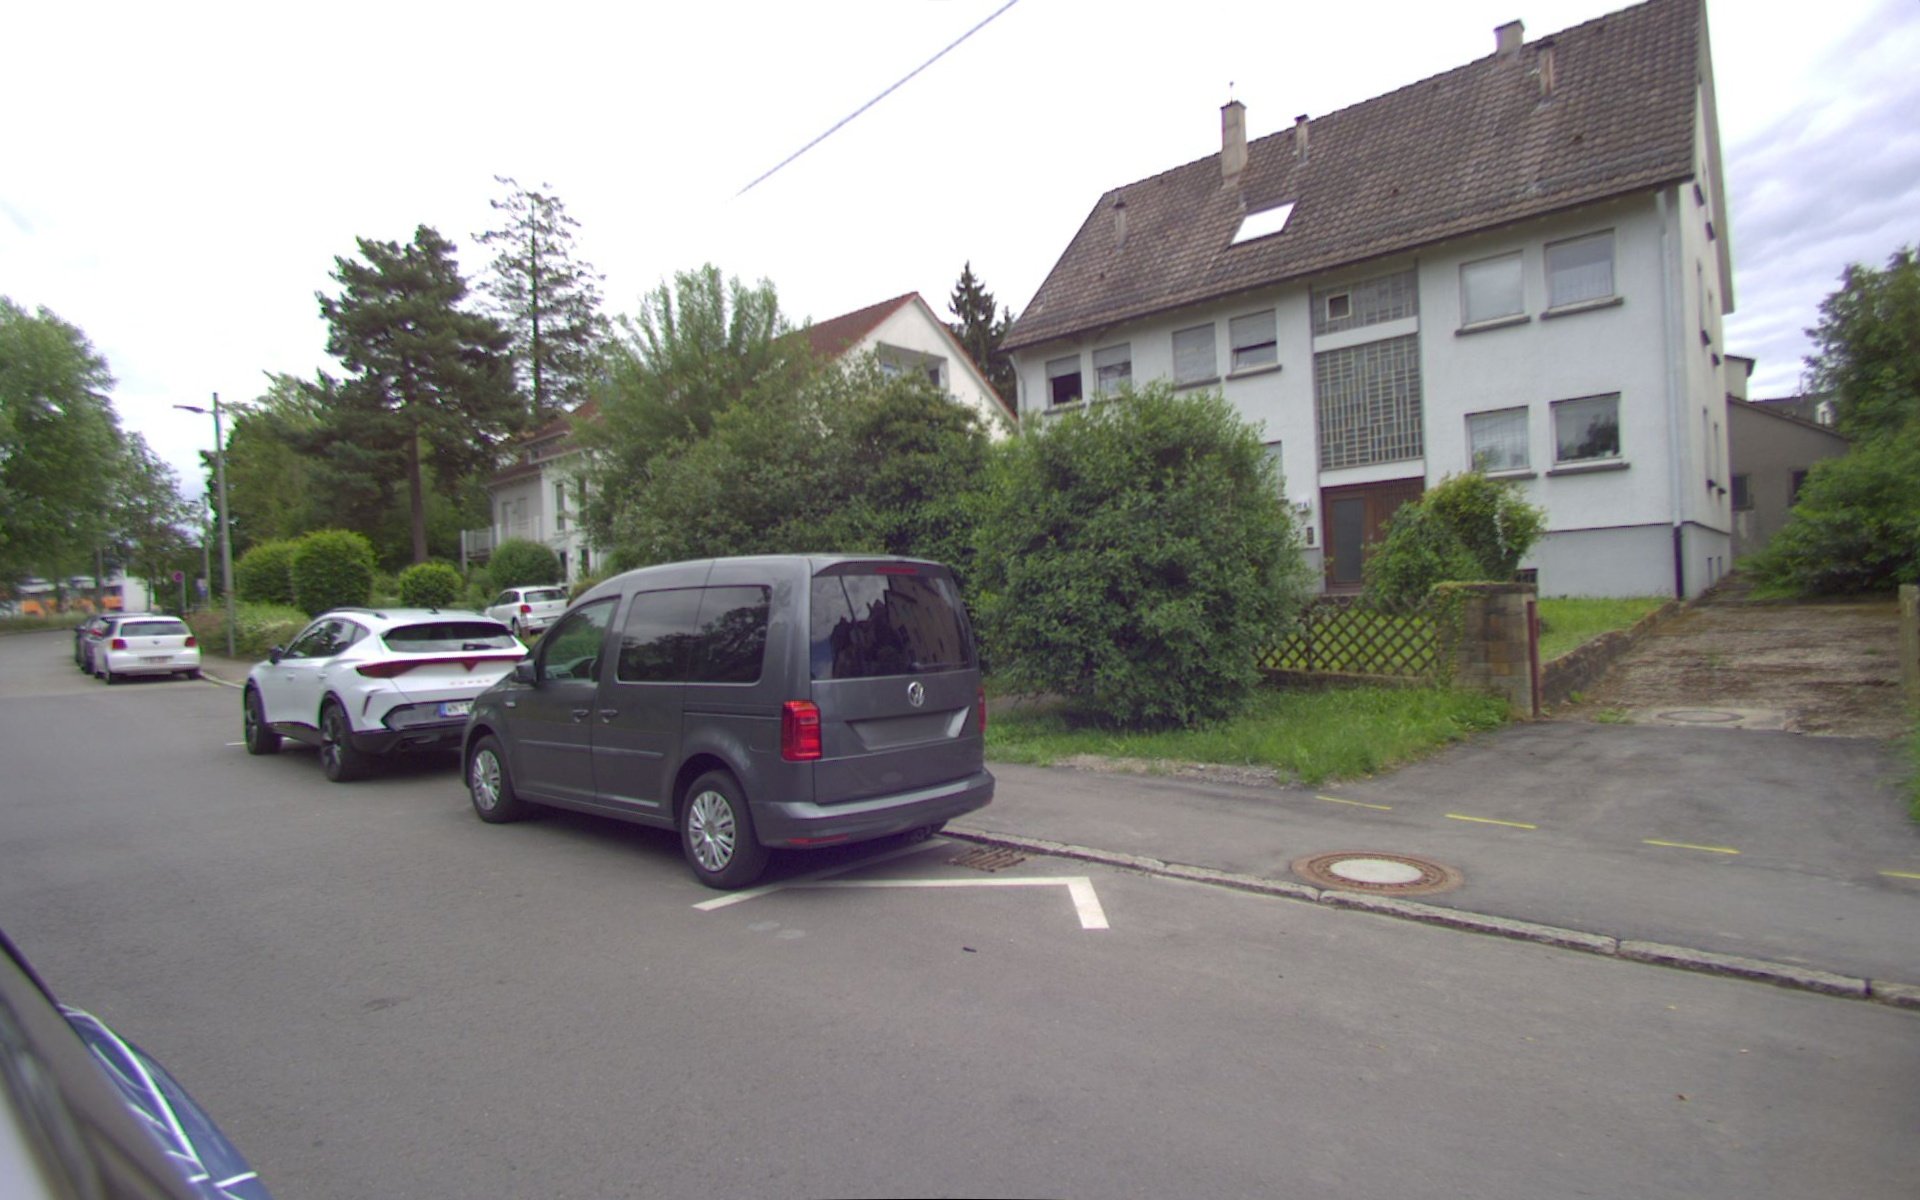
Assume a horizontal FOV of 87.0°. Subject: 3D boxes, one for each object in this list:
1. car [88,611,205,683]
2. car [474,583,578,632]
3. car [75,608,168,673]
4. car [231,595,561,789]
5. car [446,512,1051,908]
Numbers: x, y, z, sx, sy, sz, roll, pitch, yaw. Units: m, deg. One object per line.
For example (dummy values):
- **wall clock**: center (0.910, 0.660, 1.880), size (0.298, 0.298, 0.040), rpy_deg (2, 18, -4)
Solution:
- **car**: center (-18.597, 1.012, 23.089), size (1.712, 1.439, 3.459), rpy_deg (-2, 1, -45)
- **car**: center (-12.969, 0.216, 30.141), size (1.626, 1.342, 3.908), rpy_deg (-1, 0, -43)
- **car**: center (-21.673, 0.994, 26.113), size (1.583, 1.541, 3.591), rpy_deg (-1, 0, -44)
- **car**: center (-5.704, 0.743, 10.021), size (4.044, 1.516, 1.644), rpy_deg (-1, 1, 42)
- **car**: center (-1.583, 0.504, 6.639), size (4.062, 1.814, 1.778), rpy_deg (-1, 1, 41)
